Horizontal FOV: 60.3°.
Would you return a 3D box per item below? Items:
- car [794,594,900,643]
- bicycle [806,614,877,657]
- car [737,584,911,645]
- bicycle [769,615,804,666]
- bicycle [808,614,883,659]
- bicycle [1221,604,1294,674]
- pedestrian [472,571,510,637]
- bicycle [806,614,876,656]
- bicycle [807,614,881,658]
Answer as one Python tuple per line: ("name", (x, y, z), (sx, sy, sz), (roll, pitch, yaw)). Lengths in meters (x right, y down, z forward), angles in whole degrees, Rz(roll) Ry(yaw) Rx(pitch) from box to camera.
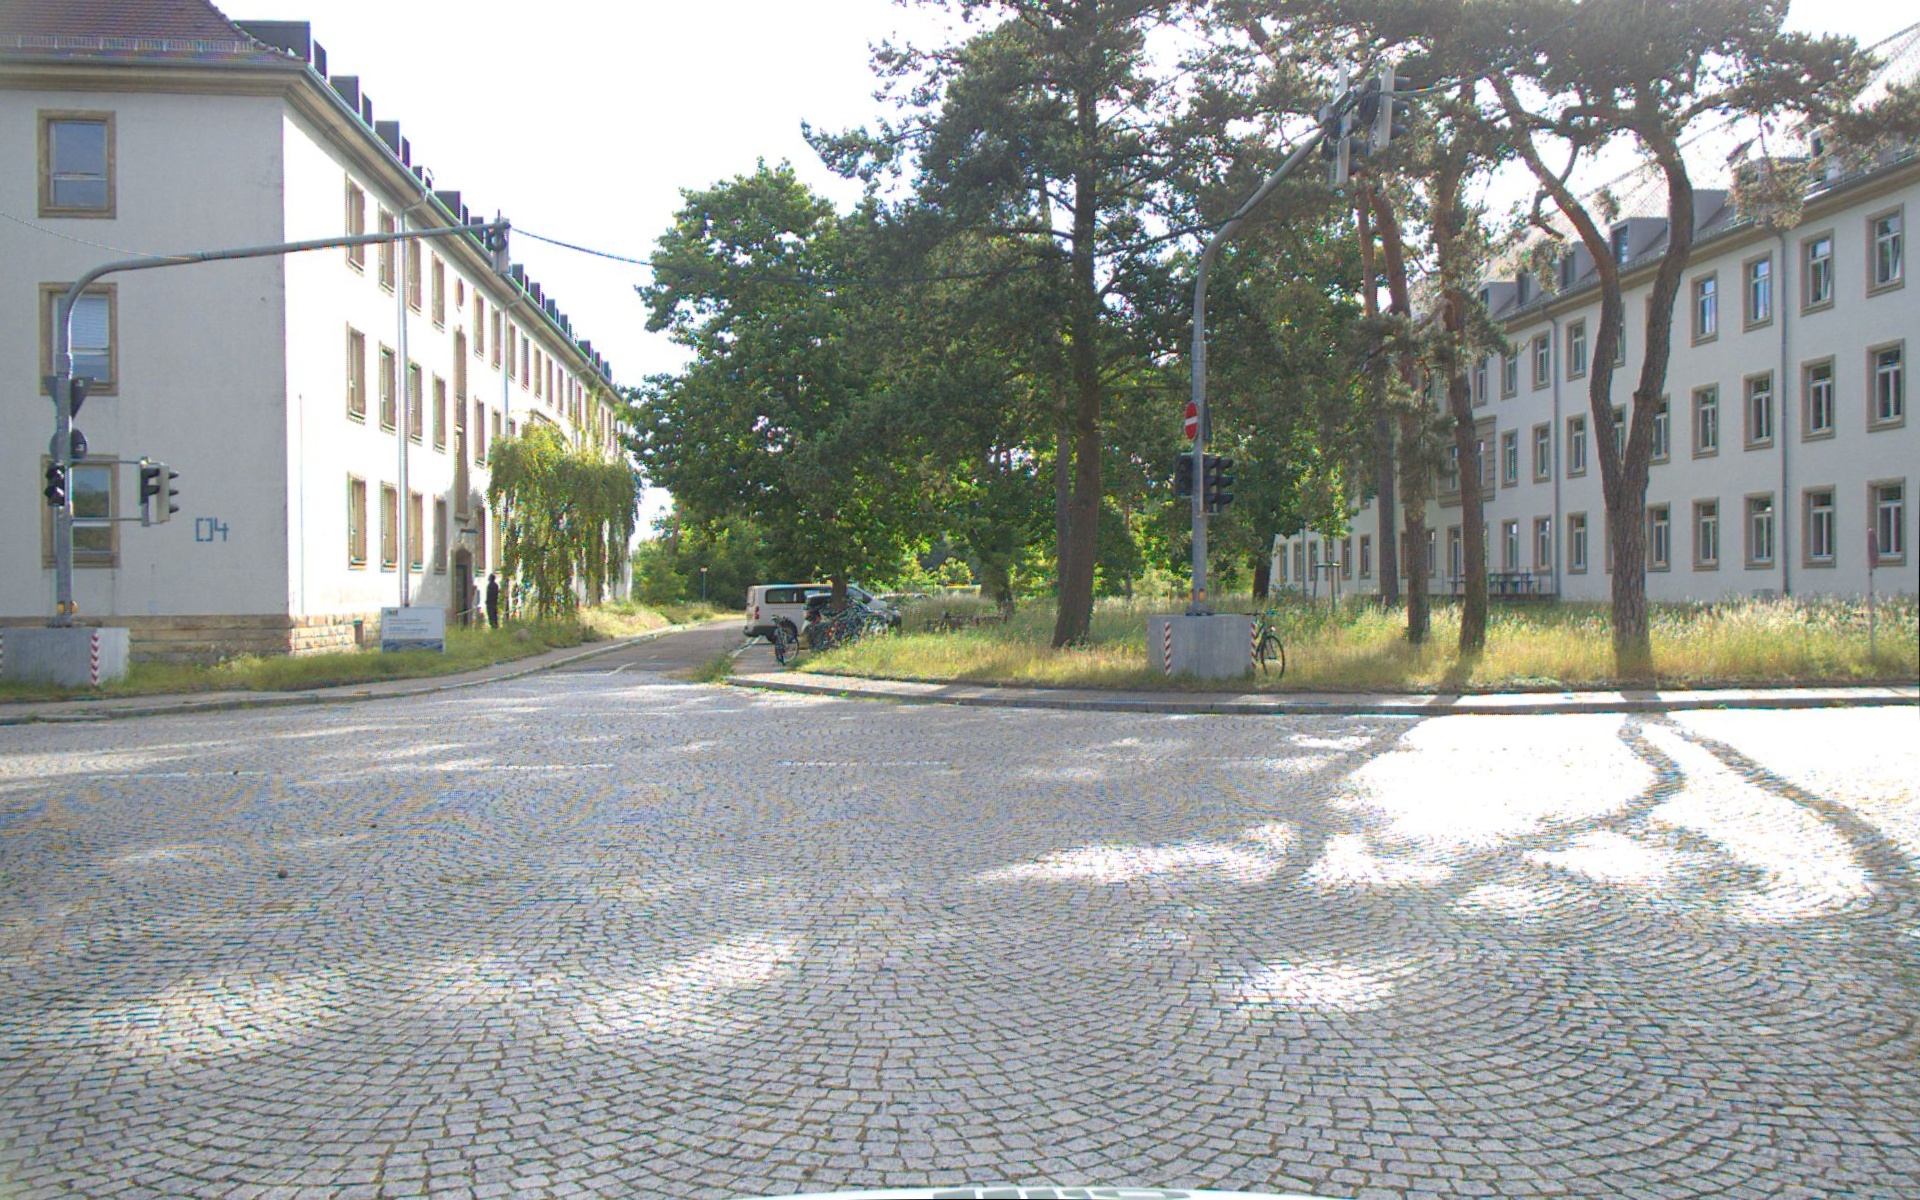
("car", (-3.554, 0.569, 51.682), (2.985, 1.491, 1.711), (0, -1, -18))
("bicycle", (-3.004, 0.888, 41.849), (1.758, 1.016, 0.643), (-1, 1, -7))
("car", (-4.547, 0.470, 55.161), (5.419, 1.949, 2.241), (0, -1, -20))
("bicycle", (-3.726, 0.855, 35.637), (0.714, 1.016, 1.797), (-1, 1, -6))
("bicycle", (-2.729, 0.869, 39.346), (1.758, 1.016, 0.643), (-1, 1, -7))
("bicycle", (4.635, 0.595, 25.876), (0.552, 1.016, 1.748), (-1, 1, -10))
("pedestrian", (-14.338, 0.133, 50.552), (0.966, 1.998, 0.931), (0, -1, -6))
("bicycle", (-3.068, 0.892, 42.584), (1.758, 1.016, 0.643), (-1, 1, -7))
("bicycle", (-2.827, 0.878, 40.360), (1.758, 1.016, 0.643), (-1, 1, -7))
